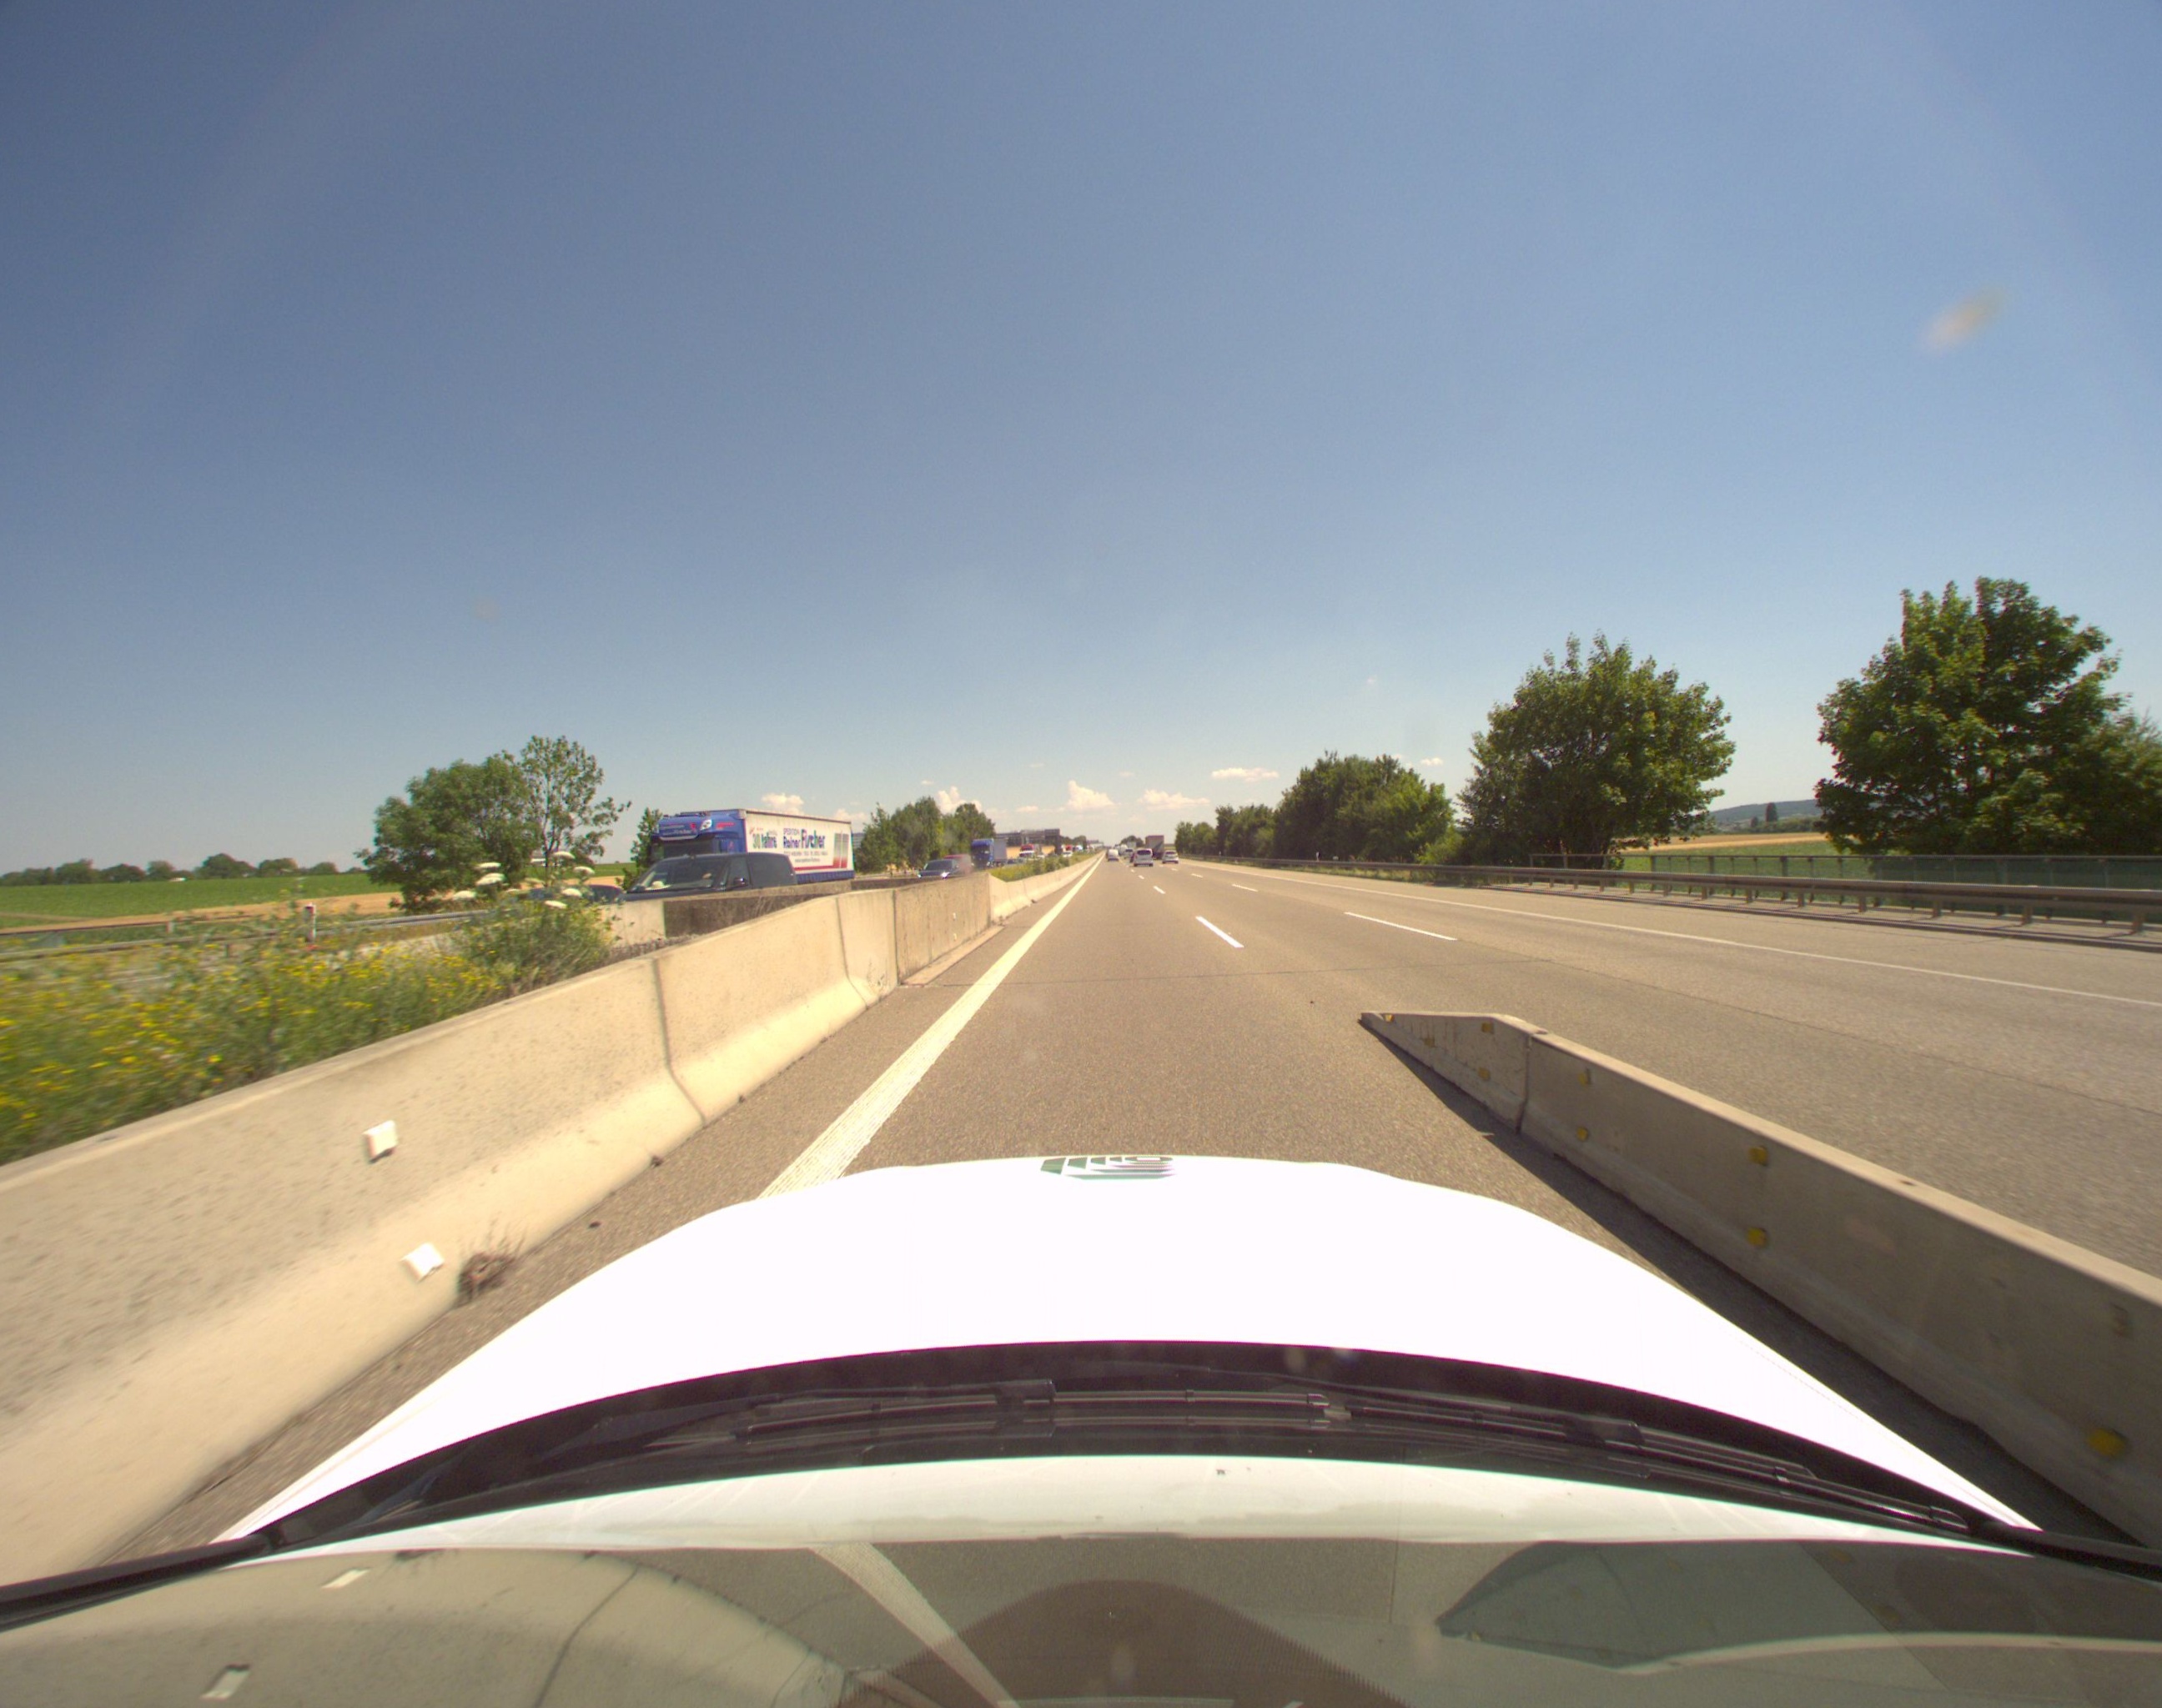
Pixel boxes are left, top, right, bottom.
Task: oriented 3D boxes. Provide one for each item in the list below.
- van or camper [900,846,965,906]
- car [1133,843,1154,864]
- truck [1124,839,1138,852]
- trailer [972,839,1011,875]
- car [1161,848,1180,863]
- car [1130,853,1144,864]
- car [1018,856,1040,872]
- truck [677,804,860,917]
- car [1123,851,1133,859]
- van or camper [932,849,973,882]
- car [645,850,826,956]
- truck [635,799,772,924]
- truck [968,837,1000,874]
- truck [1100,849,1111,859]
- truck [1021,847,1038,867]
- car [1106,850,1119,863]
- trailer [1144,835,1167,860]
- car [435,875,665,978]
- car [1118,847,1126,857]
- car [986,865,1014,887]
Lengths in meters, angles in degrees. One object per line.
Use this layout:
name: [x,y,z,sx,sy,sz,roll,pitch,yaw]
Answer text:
van or camper: [-7.070,1.001,39.265,2.140,2.628,4.399,-3,0,1]
car: [6.585,-0.012,85.806,1.986,2.120,4.002,-2,-1,2]
truck: [16.073,-2.629,262.217,3.802,3.904,9.584,-2,0,2]
trailer: [-11.760,0.350,108.307,2.872,4.350,13.650,-3,0,2]
car: [11.067,0.166,100.423,1.986,1.794,4.002,-2,-1,2]
car: [7.748,0.605,112.483,1.766,1.447,4.002,-2,-1,2]
car: [-7.260,1.347,113.825,2.175,2.013,5.769,-3,0,4]
truck: [-14.133,0.270,38.933,2.583,4.238,14.128,-5,0,2]
car: [8.664,0.160,150.272,1.766,1.447,4.002,-2,-1,2]
van or camper: [-9.817,0.837,62.711,2.086,2.274,5.495,-3,0,1]
car: [-7.292,0.933,17.779,1.807,1.946,4.616,-3,0,1]
truck: [-14.360,0.276,31.436,2.583,4.238,4.856,-5,0,2]
truck: [-12.020,0.204,101.291,2.854,4.350,5.589,-3,0,2]
truck: [4.965,0.048,167.647,2.204,2.013,4.973,-2,0,1]
truck: [-10.194,0.562,161.973,2.845,3.855,4.002,-3,0,1]
car: [4.970,0.433,128.644,1.986,2.014,4.002,-2,-1,2]
trailer: [12.586,-0.970,138.096,3.265,3.967,9.116,-2,-1,2]
car: [-10.547,1.350,16.633,1.882,1.654,4.096,-3,0,1]
car: [10.175,-0.474,201.255,1.766,2.392,4.002,-2,-1,2]
car: [-6.500,1.759,65.843,1.678,1.566,4.563,-3,0,1]
